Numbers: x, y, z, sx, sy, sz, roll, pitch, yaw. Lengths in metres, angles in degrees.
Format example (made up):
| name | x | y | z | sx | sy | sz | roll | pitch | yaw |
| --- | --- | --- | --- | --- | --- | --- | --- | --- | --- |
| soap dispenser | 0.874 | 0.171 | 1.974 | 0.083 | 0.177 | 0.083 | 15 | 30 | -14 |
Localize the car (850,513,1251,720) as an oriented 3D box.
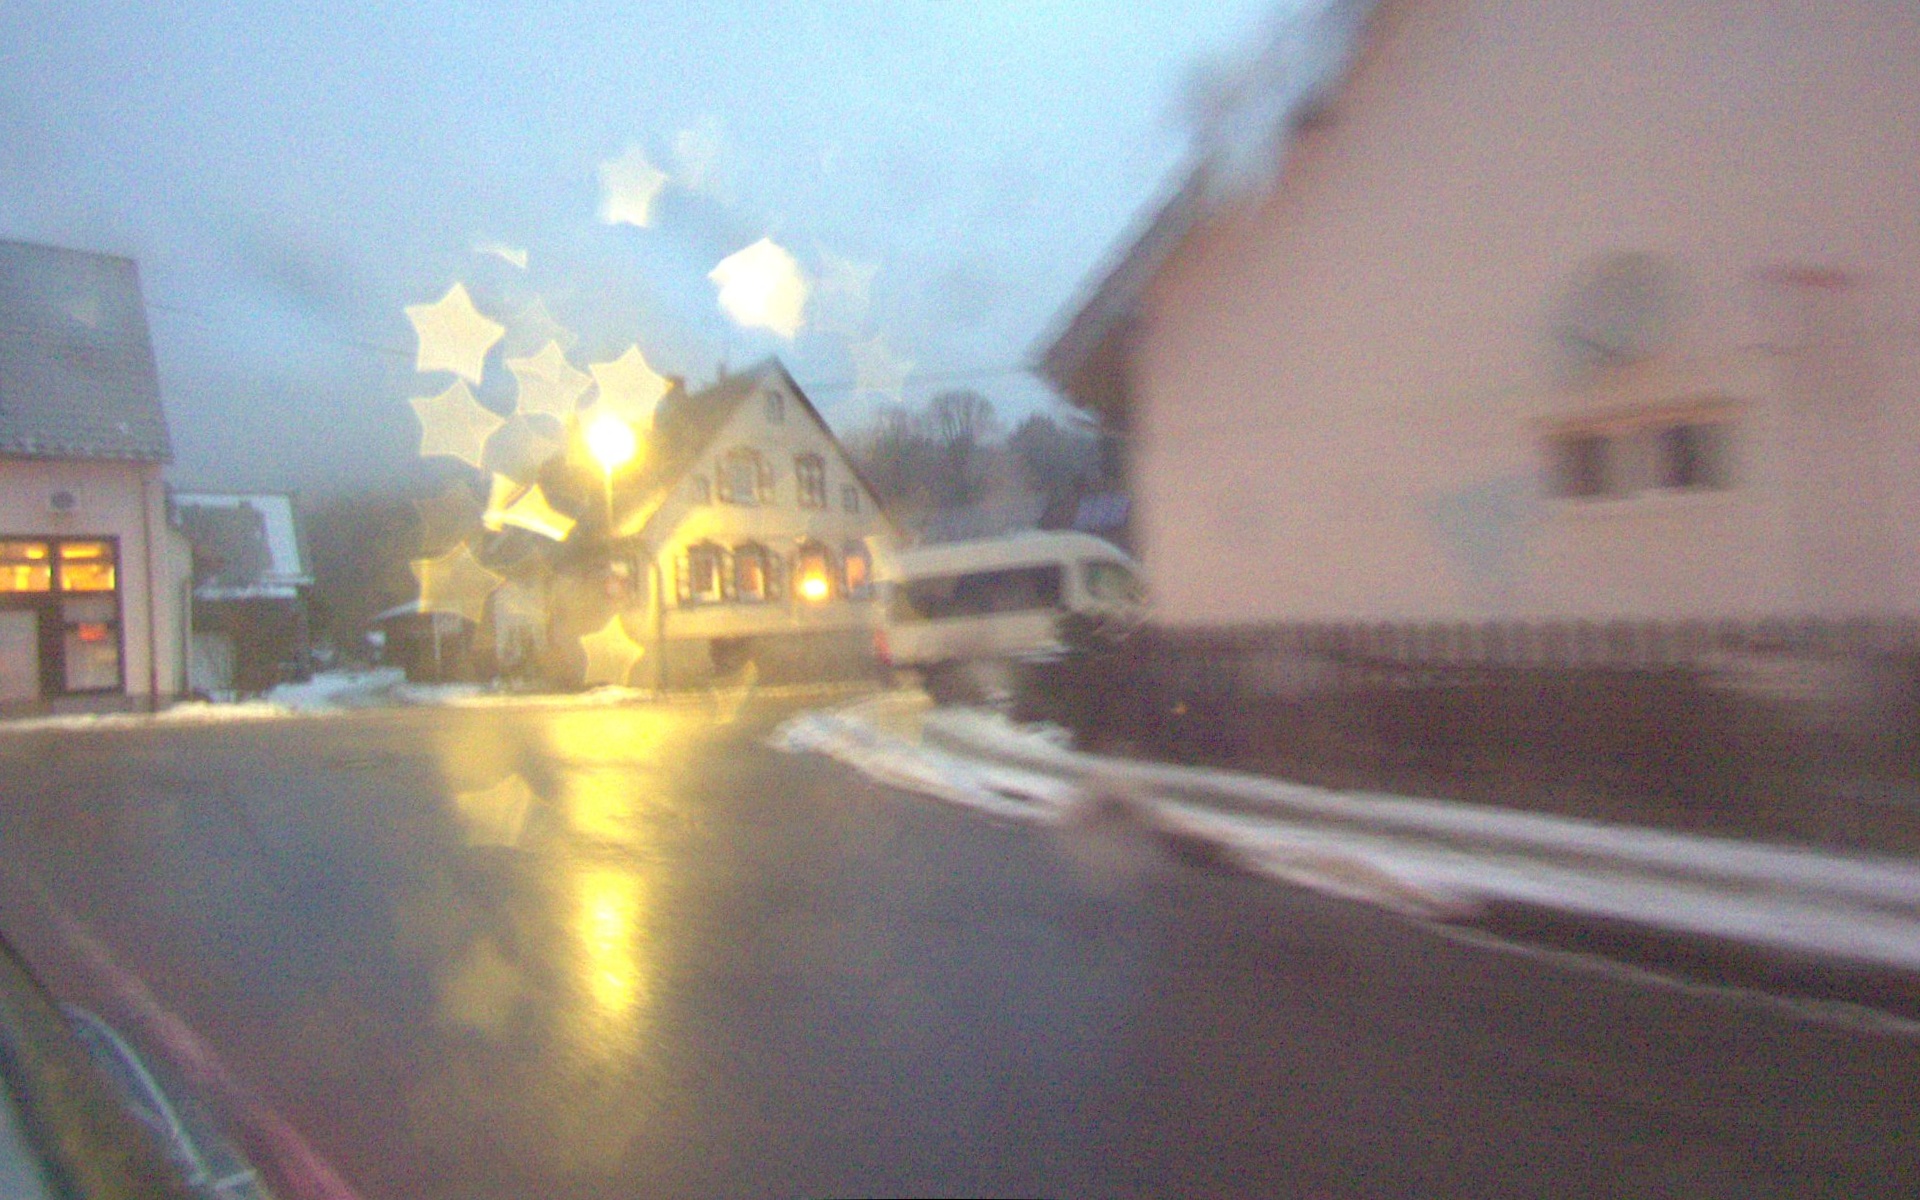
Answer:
| name | x | y | z | sx | sy | sz | roll | pitch | yaw |
| --- | --- | --- | --- | --- | --- | --- | --- | --- | --- |
| car | 1.479 | 0.340 | 16.792 | 6.055 | 2.572 | 1.992 | -7 | -3 | 13 |
